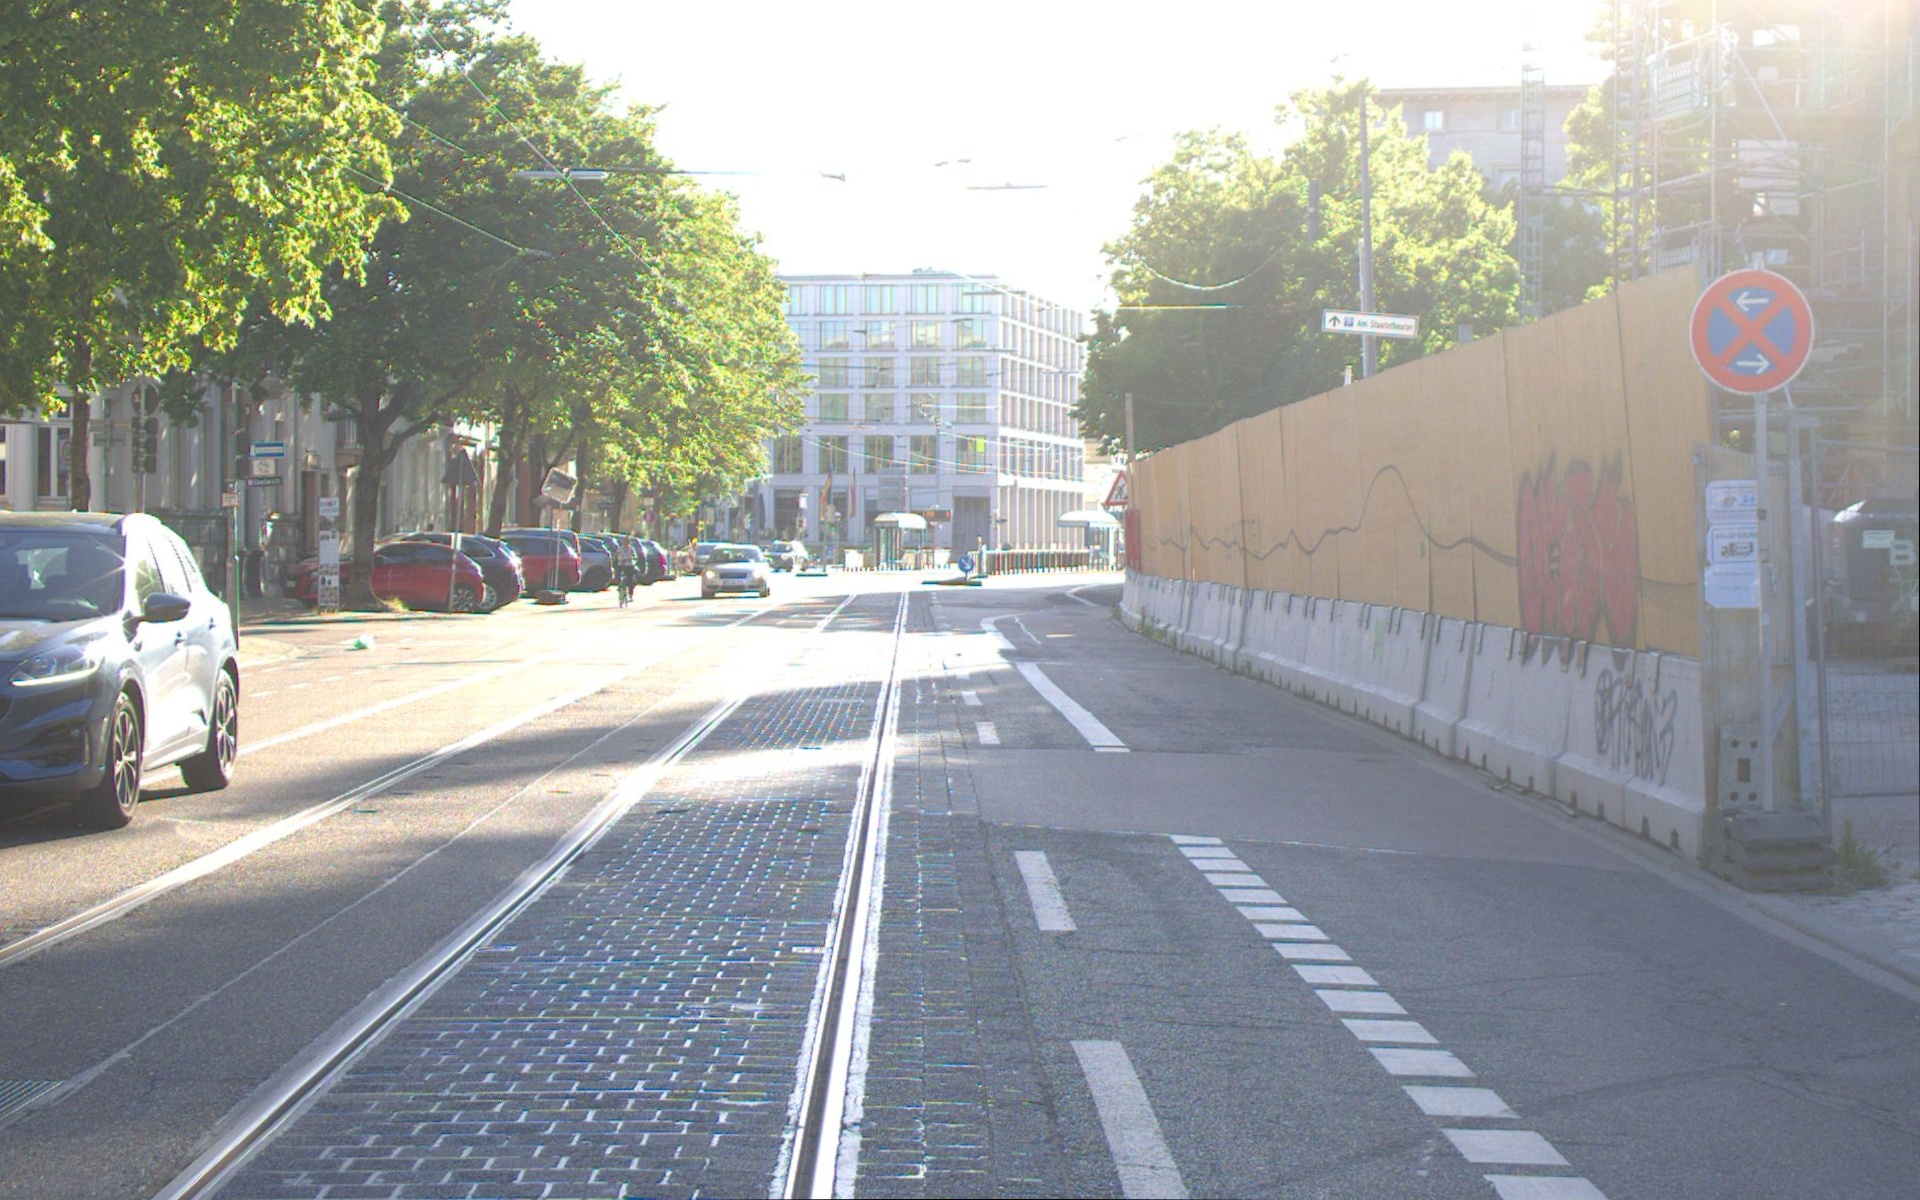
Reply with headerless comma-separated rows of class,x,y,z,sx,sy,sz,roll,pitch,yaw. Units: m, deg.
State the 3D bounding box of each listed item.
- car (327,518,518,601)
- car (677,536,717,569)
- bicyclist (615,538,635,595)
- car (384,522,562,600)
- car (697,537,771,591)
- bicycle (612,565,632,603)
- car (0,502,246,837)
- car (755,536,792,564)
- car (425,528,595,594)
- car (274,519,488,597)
car,-11.378,-0.866,72.891,3.674,1.715,1.611,-1,1,-35
car,-12.016,-2.178,157.179,1.573,1.485,4.000,0,1,0
bicyclist,-8.044,-0.811,82.551,0.457,1.373,0.641,0,1,-5
car,-11.026,-0.899,77.931,3.674,1.715,1.611,-1,1,-35
car,-6.100,-0.985,93.157,1.709,1.431,4.171,0,1,0
bicycle,-8.116,-0.386,82.552,0.449,0.878,1.901,0,1,-5
car,-5.261,0.299,18.777,1.927,1.624,4.249,0,1,-1
car,-10.078,-2.707,185.723,1.558,1.525,4.000,0,1,4
car,-11.898,-1.027,90.991,4.159,1.715,1.584,0,1,-28
car,-11.708,-0.846,69.590,3.901,1.448,1.638,1,0,-34
